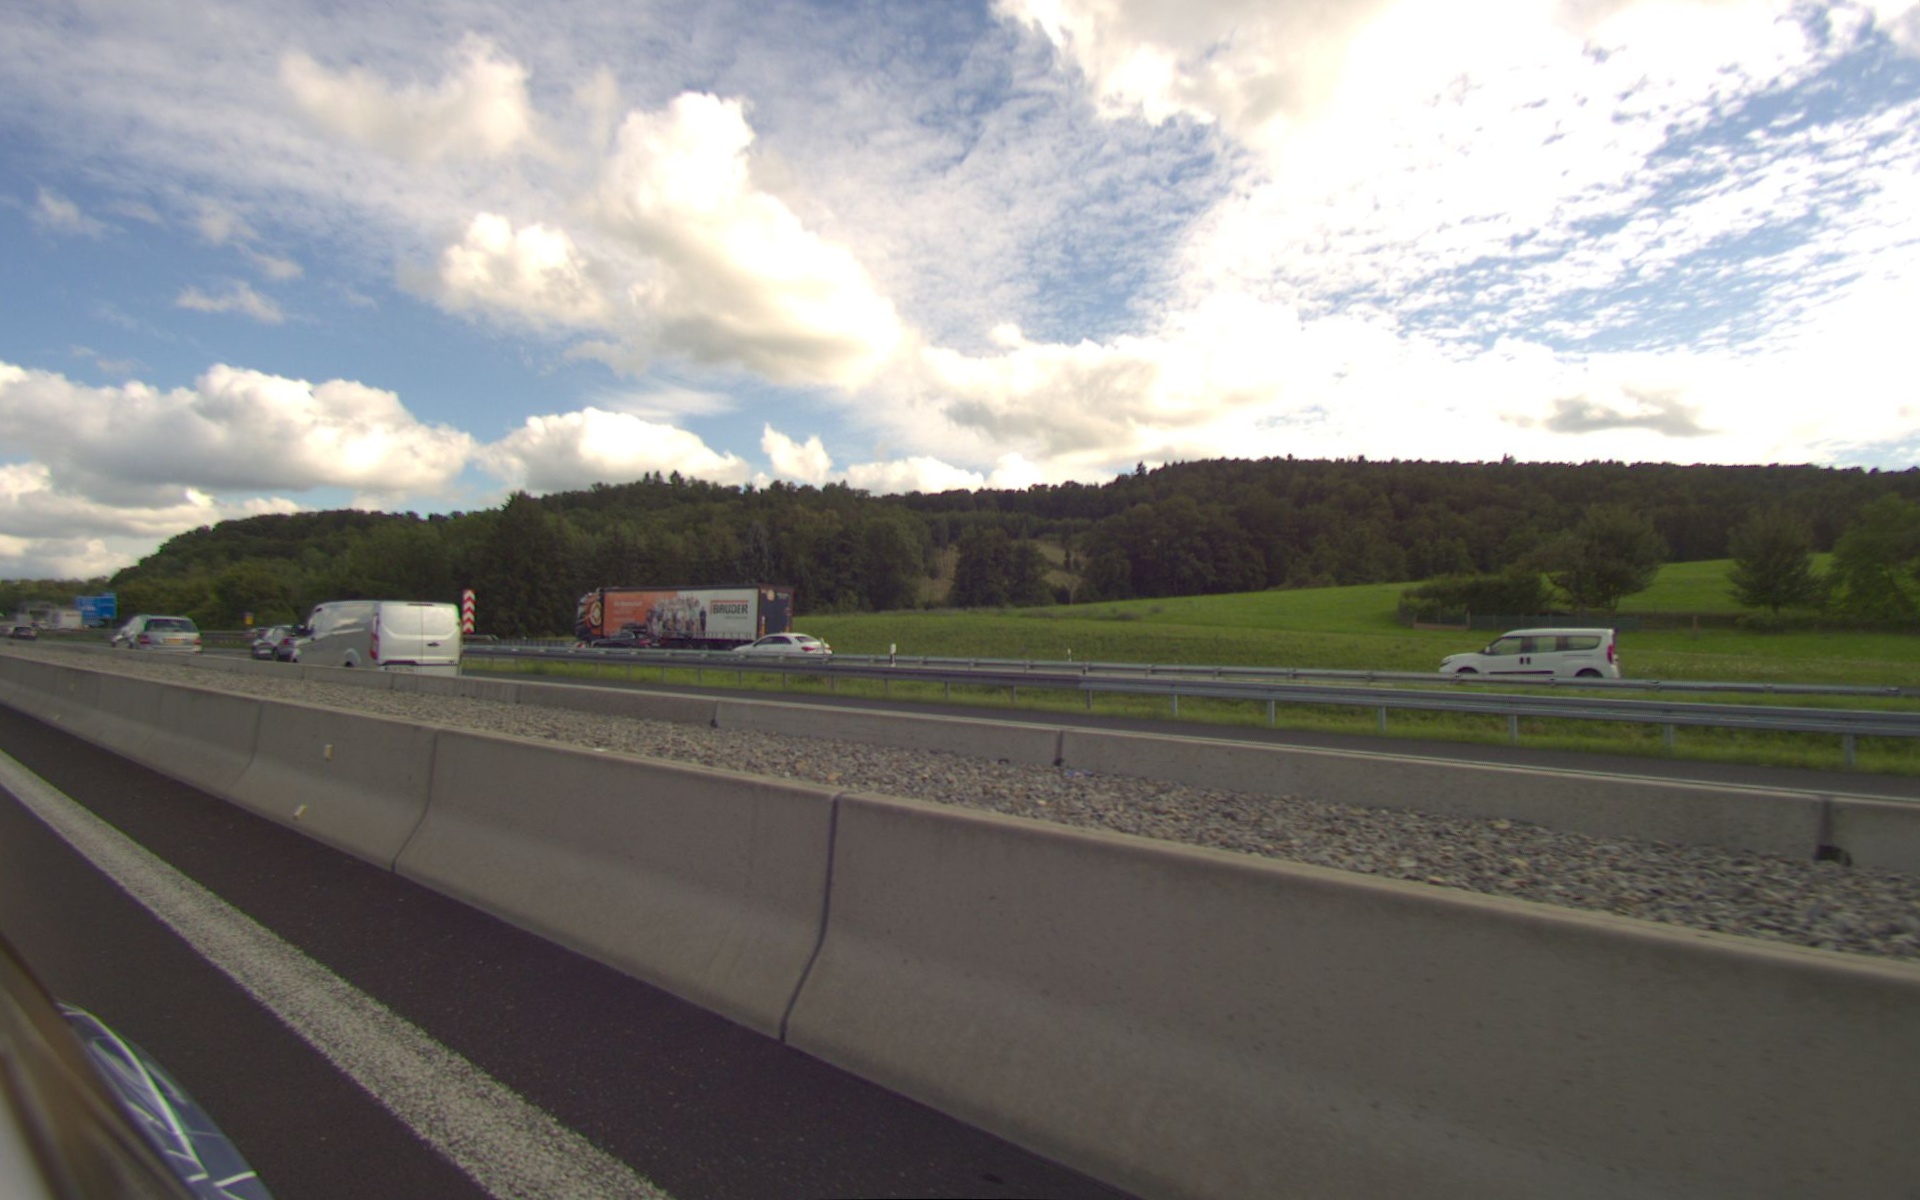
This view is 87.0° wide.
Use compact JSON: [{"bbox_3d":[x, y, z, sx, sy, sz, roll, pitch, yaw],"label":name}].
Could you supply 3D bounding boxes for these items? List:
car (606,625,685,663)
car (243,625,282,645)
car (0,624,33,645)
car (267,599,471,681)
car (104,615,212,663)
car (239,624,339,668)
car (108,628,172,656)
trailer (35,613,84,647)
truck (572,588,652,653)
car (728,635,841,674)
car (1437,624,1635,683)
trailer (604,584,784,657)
[{"bbox_3d":[-16.863,2.345,54.181,4.389,1.912,1.756,-1,-3,36],"label":"car"},{"bbox_3d":[-61.036,3.048,88.565,4.300,1.630,1.782,-1,-3,41],"label":"car"},{"bbox_3d":[-79.452,2.892,85.067,4.300,1.630,1.782,-1,-3,41],"label":"car"},{"bbox_3d":[-12.726,0.830,21.600,5.744,1.544,1.973,-1,-3,41],"label":"car"},{"bbox_3d":[-27.631,1.329,34.826,5.018,1.544,1.973,-1,-3,41],"label":"car"},{"bbox_3d":[-25.271,1.696,38.078,4.504,1.544,1.973,-1,-3,41],"label":"car"},{"bbox_3d":[-44.781,2.290,55.237,4.179,1.467,1.973,-1,-3,41],"label":"car"},{"bbox_3d":[-143.109,4.757,160.692,14.697,5.200,3.079,-1,-3,38],"label":"trailer"},{"bbox_3d":[-21.124,1.245,61.334,5.141,3.790,1.975,-1,-3,37],"label":"truck"},{"bbox_3d":[-6.988,2.119,40.087,4.386,1.411,1.758,-1,-3,33],"label":"car"},{"bbox_3d":[16.795,1.528,29.646,4.880,1.560,1.756,-1,-3,36],"label":"car"},{"bbox_3d":[-15.236,1.169,56.914,13.223,3.765,1.975,-1,-3,37],"label":"trailer"}]
